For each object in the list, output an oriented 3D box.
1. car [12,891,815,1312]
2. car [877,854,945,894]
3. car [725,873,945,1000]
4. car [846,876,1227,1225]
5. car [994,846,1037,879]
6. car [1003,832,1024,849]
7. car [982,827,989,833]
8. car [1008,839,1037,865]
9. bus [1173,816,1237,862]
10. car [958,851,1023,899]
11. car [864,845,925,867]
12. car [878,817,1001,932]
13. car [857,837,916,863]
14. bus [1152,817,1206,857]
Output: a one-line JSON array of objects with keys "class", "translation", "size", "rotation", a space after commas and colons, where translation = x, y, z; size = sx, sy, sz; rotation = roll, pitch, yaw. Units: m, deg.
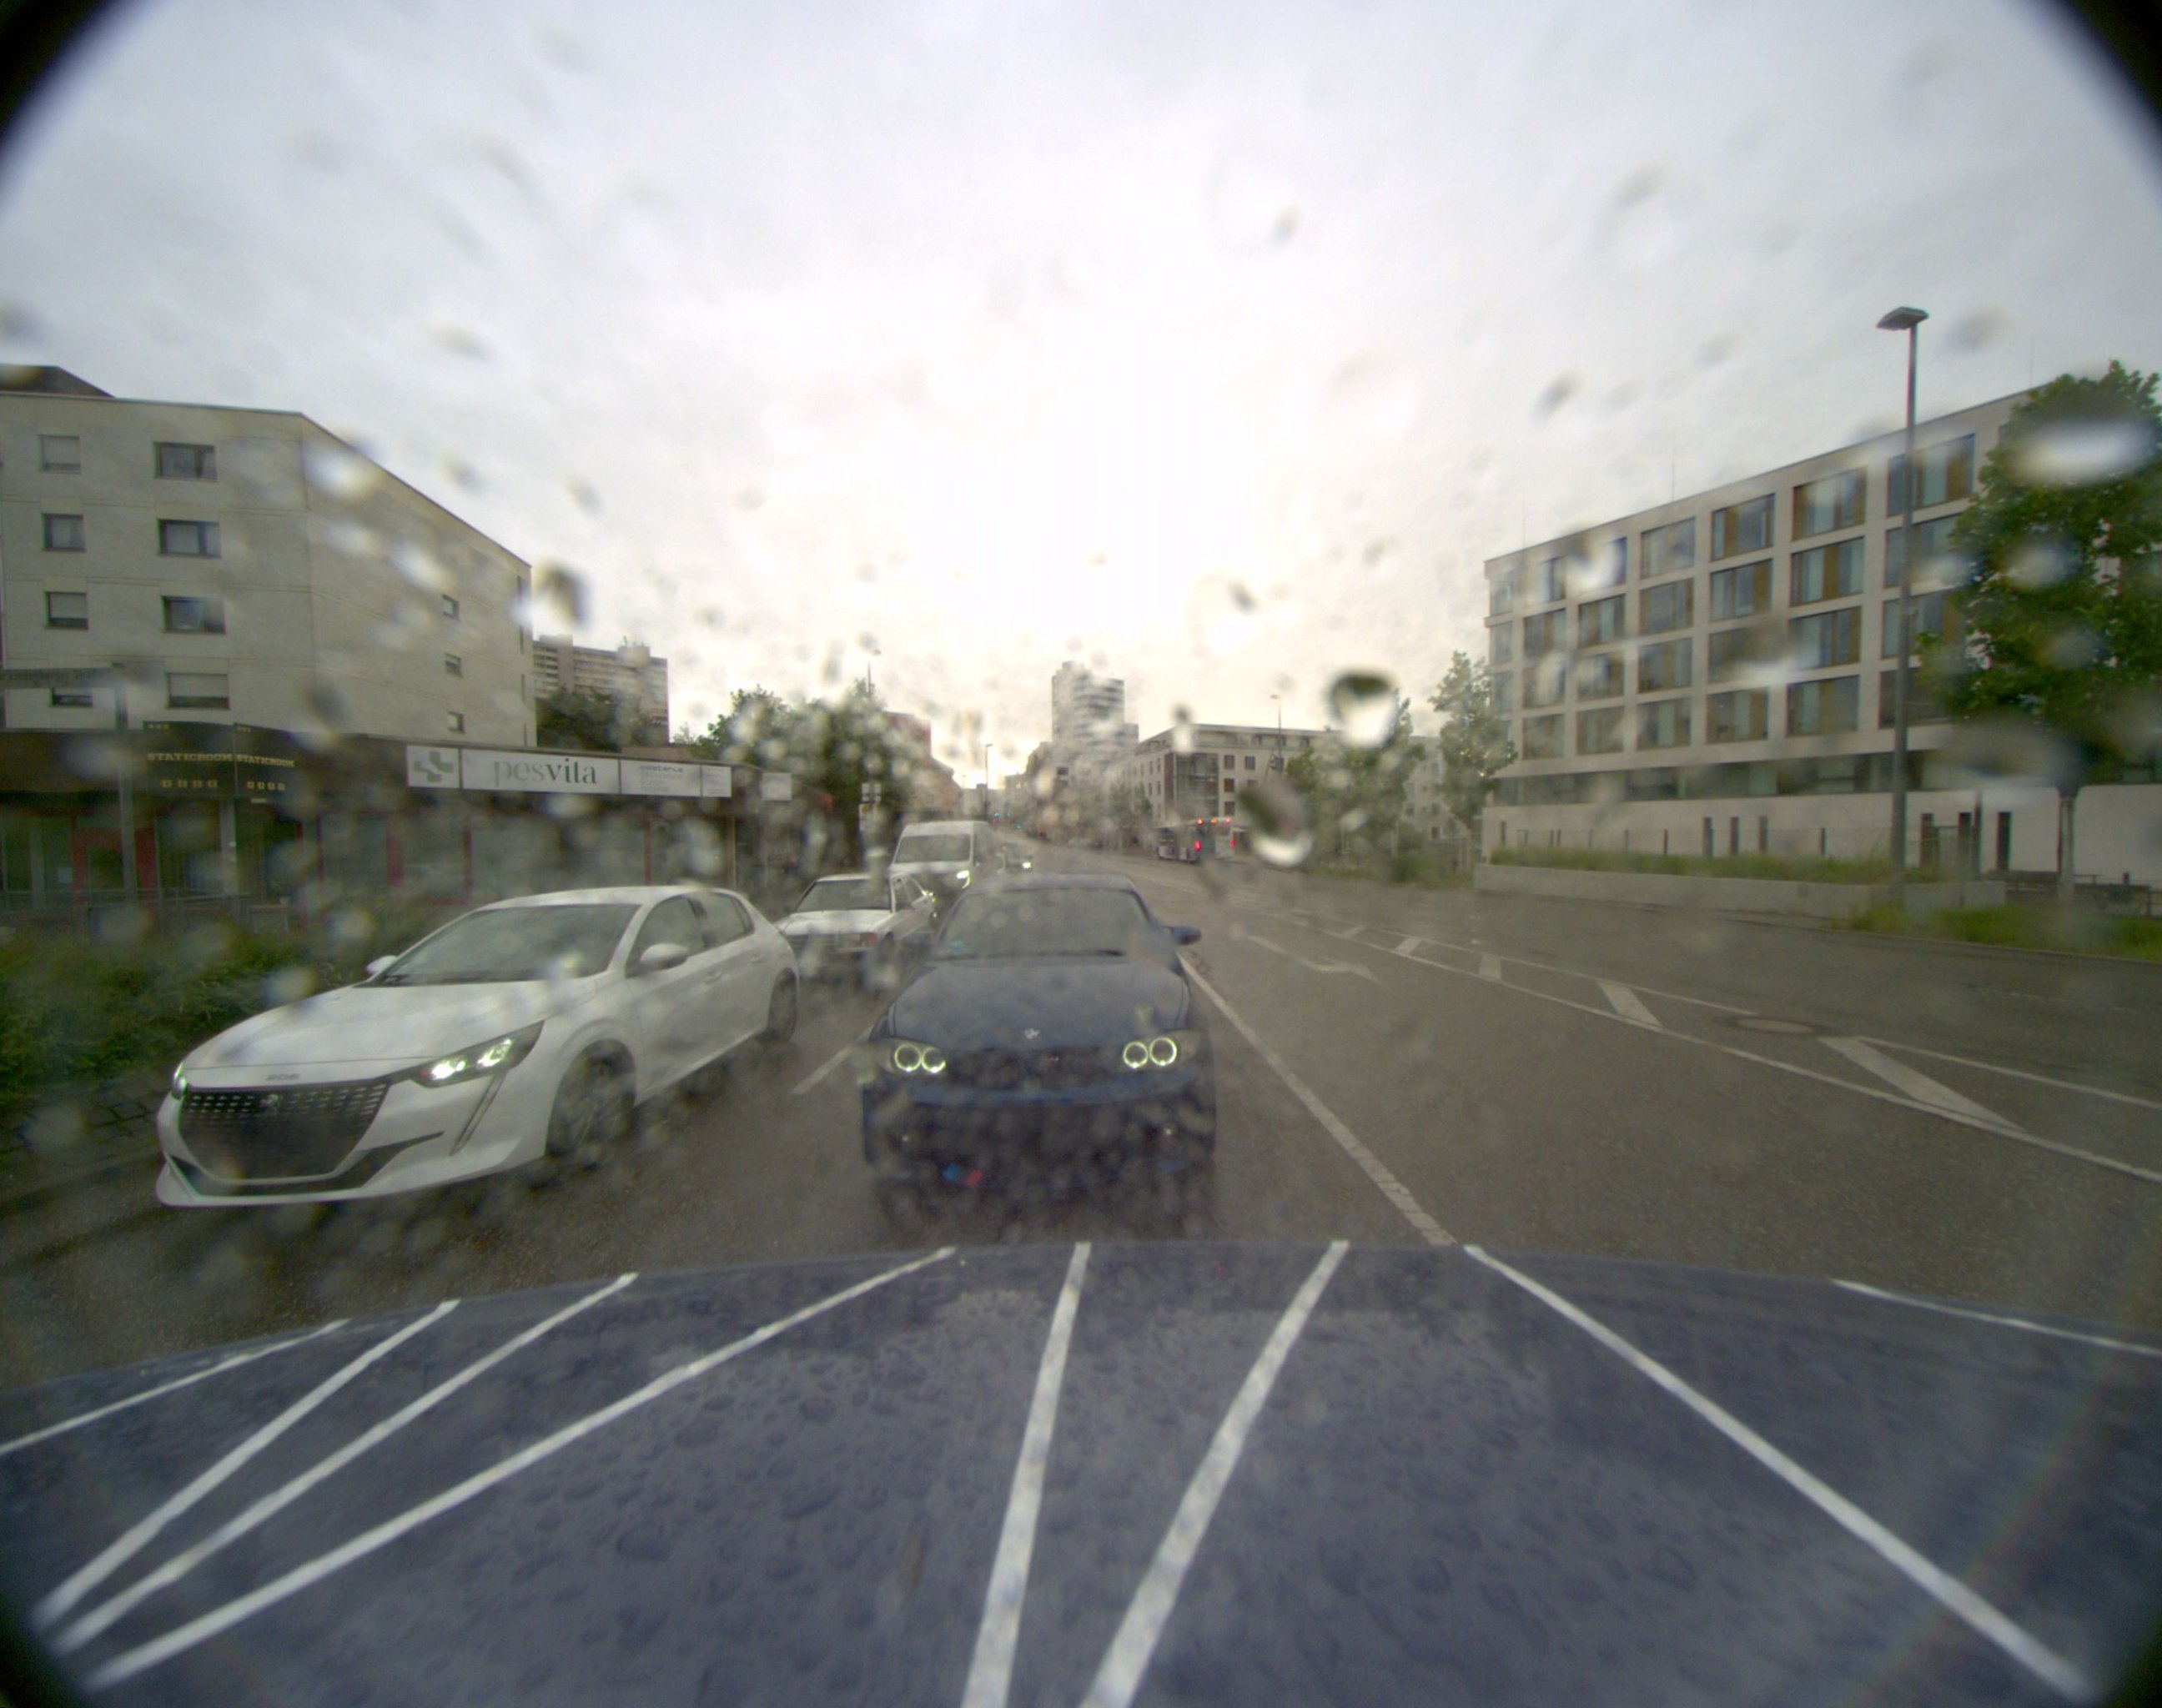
[{"class": "car", "translation": [-3.382, 1.091, 5.091], "size": [1.666, 1.407, 4.114], "rotation": [-2, 1, 1]}, {"class": "car", "translation": [-6.970, 0.781, 31.537], "size": [1.788, 1.481, 4.000], "rotation": [-2, 1, 1]}, {"class": "car", "translation": [-3.355, 1.058, 11.288], "size": [1.788, 1.338, 4.162], "rotation": [-2, 1, 1]}, {"class": "car", "translation": [-0.242, 0.951, 5.460], "size": [1.693, 1.380, 3.999], "rotation": [-2, 1, -1]}, {"class": "car", "translation": [-3.465, 0.427, 40.707], "size": [1.999, 1.559, 3.998], "rotation": [-2, 1, -1]}, {"class": "car", "translation": [-7.423, -1.478, 83.969], "size": [1.879, 1.745, 4.000], "rotation": [1, 0, 1]}, {"class": "car", "translation": [-26.718, -6.740, 211.520], "size": [1.666, 1.625, 3.801], "rotation": [-2, 1, -11]}, {"class": "car", "translation": [-4.741, -0.201, 62.012], "size": [1.998, 2.002, 3.999], "rotation": [0, 1, 1]}, {"class": "bus", "translation": [8.855, -1.051, 55.405], "size": [2.784, 3.096, 9.364], "rotation": [-1, 1, -2]}, {"class": "car", "translation": [-3.259, 0.721, 28.132], "size": [1.803, 1.530, 3.999], "rotation": [-2, 1, 1]}, {"class": "car", "translation": [-12.962, 0.118, 53.122], "size": [4.000, 1.419, 1.882], "rotation": [-1, 1, -10]}, {"class": "car", "translation": [-3.454, 0.392, 19.909], "size": [2.197, 2.503, 6.120], "rotation": [-1, 1, -2]}, {"class": "car", "translation": [-14.137, -0.300, 55.368], "size": [4.000, 1.769, 1.882], "rotation": [-1, 1, -10]}, {"class": "bus", "translation": [8.174, -1.396, 64.535], "size": [2.800, 3.096, 8.879], "rotation": [-1, 1, -5]}]
